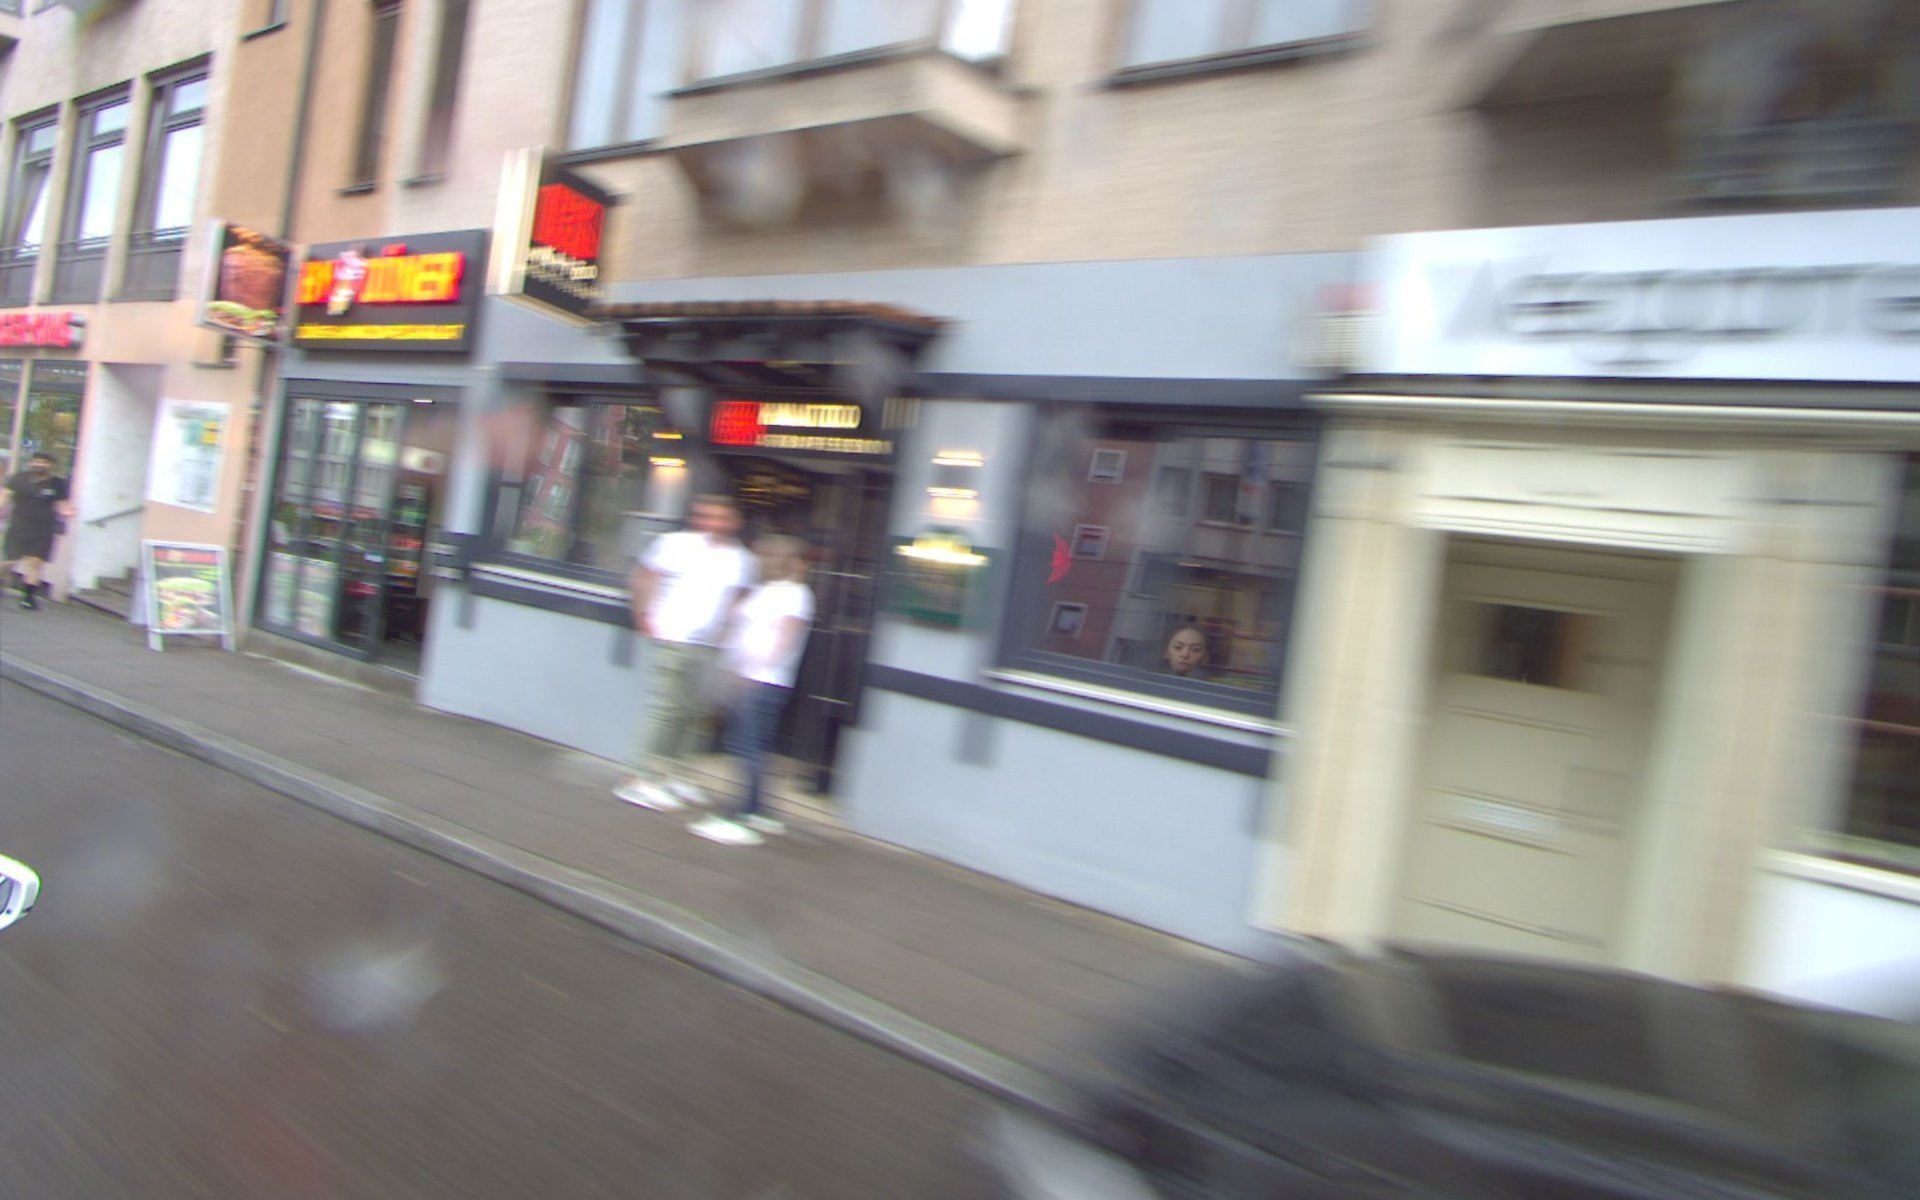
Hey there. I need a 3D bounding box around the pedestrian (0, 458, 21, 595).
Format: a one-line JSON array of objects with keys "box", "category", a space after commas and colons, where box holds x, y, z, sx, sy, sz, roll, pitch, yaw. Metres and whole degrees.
[{"box": [-12.549, -0.971, 12.857, 0.469, 1.735, 0.576, 7, 1, 33], "category": "pedestrian"}]

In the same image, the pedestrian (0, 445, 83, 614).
[{"box": [-10.845, -0.810, 11.658, 0.578, 1.842, 0.756, 7, 1, 33], "category": "pedestrian"}]

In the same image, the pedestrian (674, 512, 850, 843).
[{"box": [-1.098, 0.413, 5.634, 0.585, 1.701, 0.546, 7, 1, 24], "category": "pedestrian"}]

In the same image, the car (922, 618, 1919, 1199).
[{"box": [2.203, 1.045, 1.006, 4.174, 1.480, 1.910, 7, -1, 31], "category": "car"}]

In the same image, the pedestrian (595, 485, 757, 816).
[{"box": [-1.723, 0.295, 6.131, 0.547, 1.881, 0.530, 7, 1, 24], "category": "pedestrian"}]
